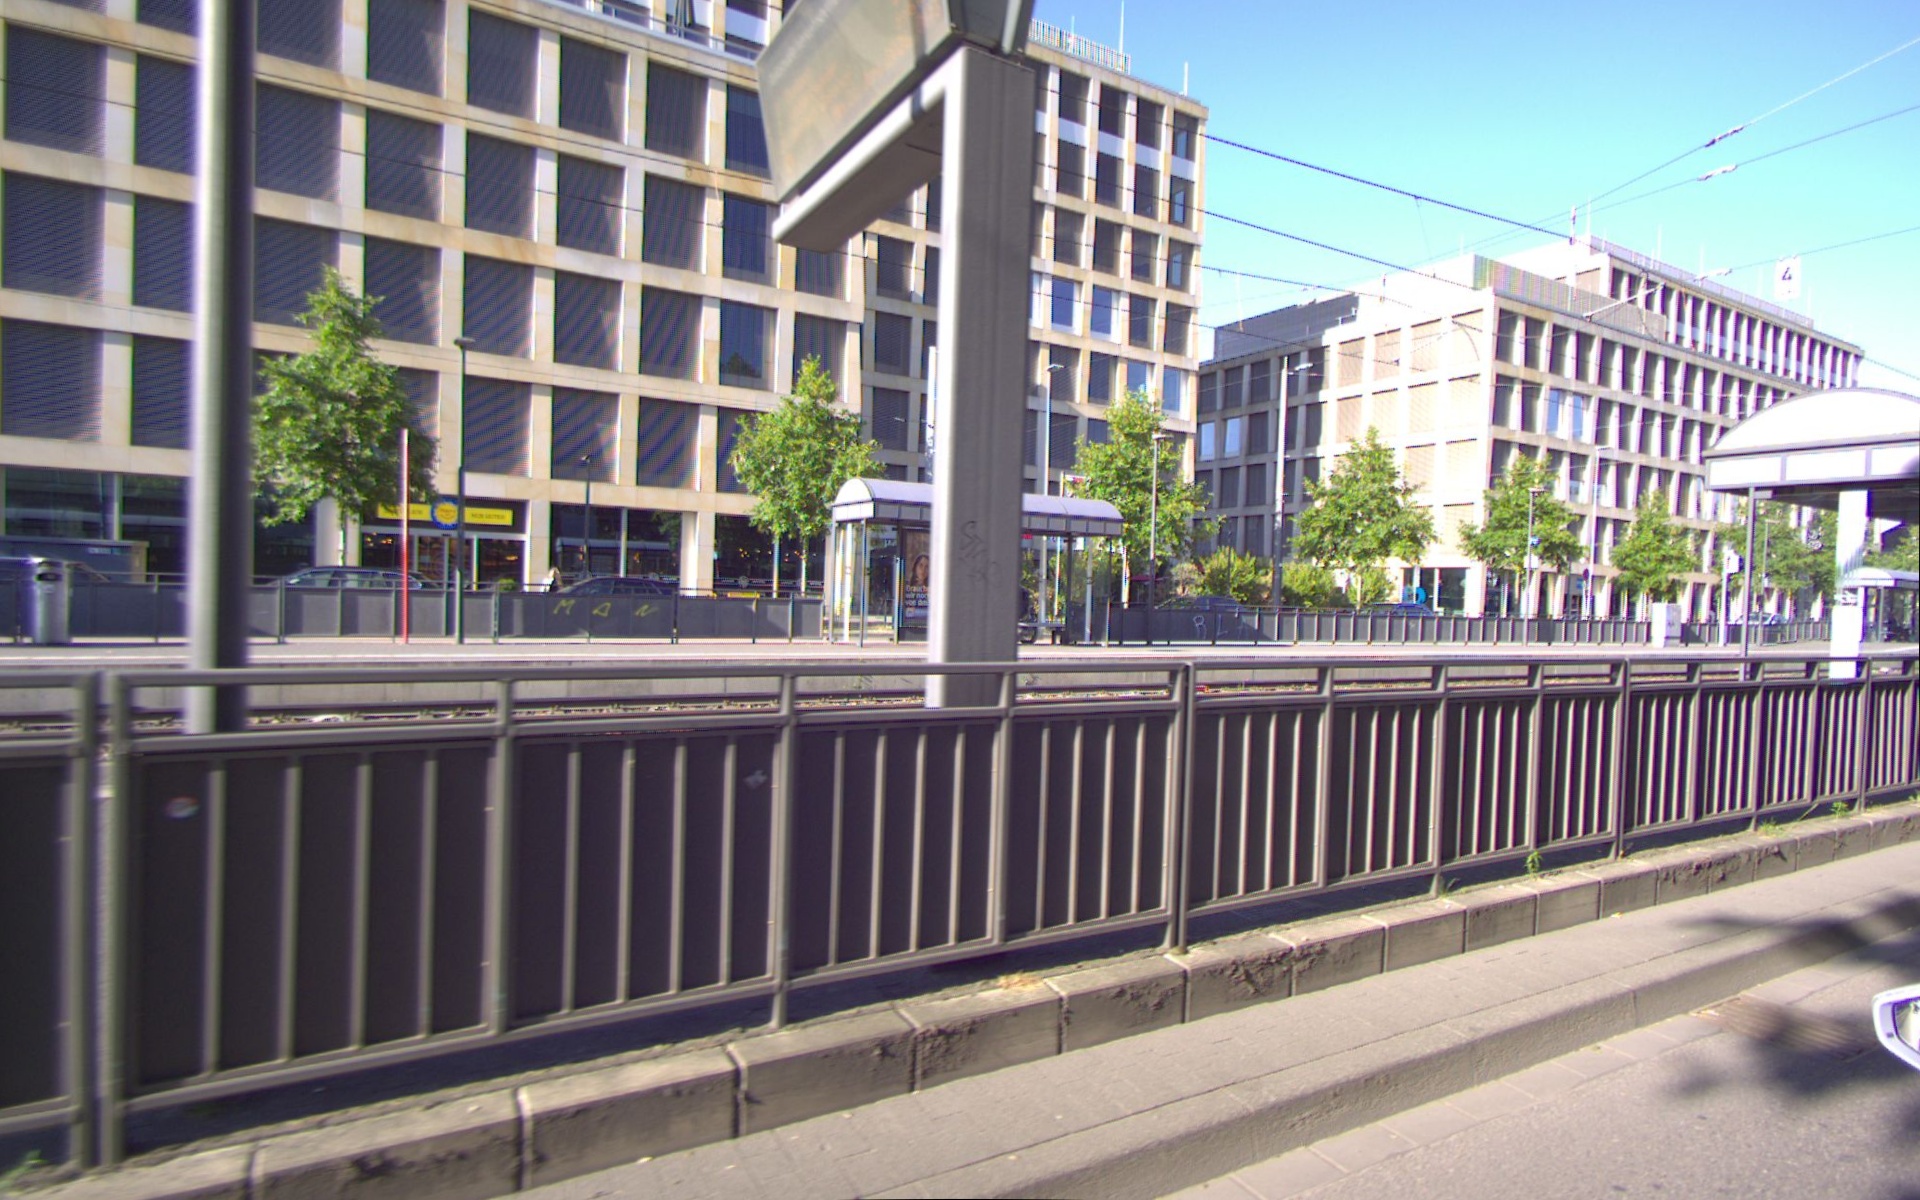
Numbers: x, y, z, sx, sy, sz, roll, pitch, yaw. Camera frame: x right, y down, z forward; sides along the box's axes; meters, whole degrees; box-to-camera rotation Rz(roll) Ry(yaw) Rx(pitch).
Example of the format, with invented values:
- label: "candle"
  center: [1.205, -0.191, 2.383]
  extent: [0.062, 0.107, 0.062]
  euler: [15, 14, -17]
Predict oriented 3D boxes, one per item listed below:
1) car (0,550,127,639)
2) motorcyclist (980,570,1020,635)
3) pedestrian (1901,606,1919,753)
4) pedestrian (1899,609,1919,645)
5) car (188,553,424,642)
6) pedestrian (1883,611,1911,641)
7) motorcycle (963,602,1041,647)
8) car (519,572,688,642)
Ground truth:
- label: "car"
  center: [-17.783, -0.135, 18.395]
  extent: [3.606, 1.583, 1.637]
  euler: [1, 1, -30]
- label: "motorcyclist"
  center: [0.972, 0.059, 24.288]
  extent: [0.755, 1.554, 0.573]
  euler: [1, 1, -29]
- label: "pedestrian"
  center: [8.827, 0.715, 8.774]
  extent: [0.518, 1.291, 0.738]
  euler: [1, 1, -30]
- label: "pedestrian"
  center: [42.327, 1.184, 44.586]
  extent: [0.714, 1.548, 0.613]
  euler: [2, 1, -21]
- label: "car"
  center: [-13.493, -0.032, 21.045]
  extent: [3.952, 1.685, 1.984]
  euler: [1, 1, -30]
- label: "pedestrian"
  center: [40.252, 1.115, 43.150]
  extent: [0.715, 1.277, 0.612]
  euler: [2, 1, -26]
- label: "motorcycle"
  center: [1.016, 0.591, 24.323]
  extent: [1.819, 1.035, 0.602]
  euler: [1, 1, -30]
- label: "car"
  center: [-8.458, 0.173, 23.888]
  extent: [3.557, 1.532, 1.637]
  euler: [1, 1, -30]
